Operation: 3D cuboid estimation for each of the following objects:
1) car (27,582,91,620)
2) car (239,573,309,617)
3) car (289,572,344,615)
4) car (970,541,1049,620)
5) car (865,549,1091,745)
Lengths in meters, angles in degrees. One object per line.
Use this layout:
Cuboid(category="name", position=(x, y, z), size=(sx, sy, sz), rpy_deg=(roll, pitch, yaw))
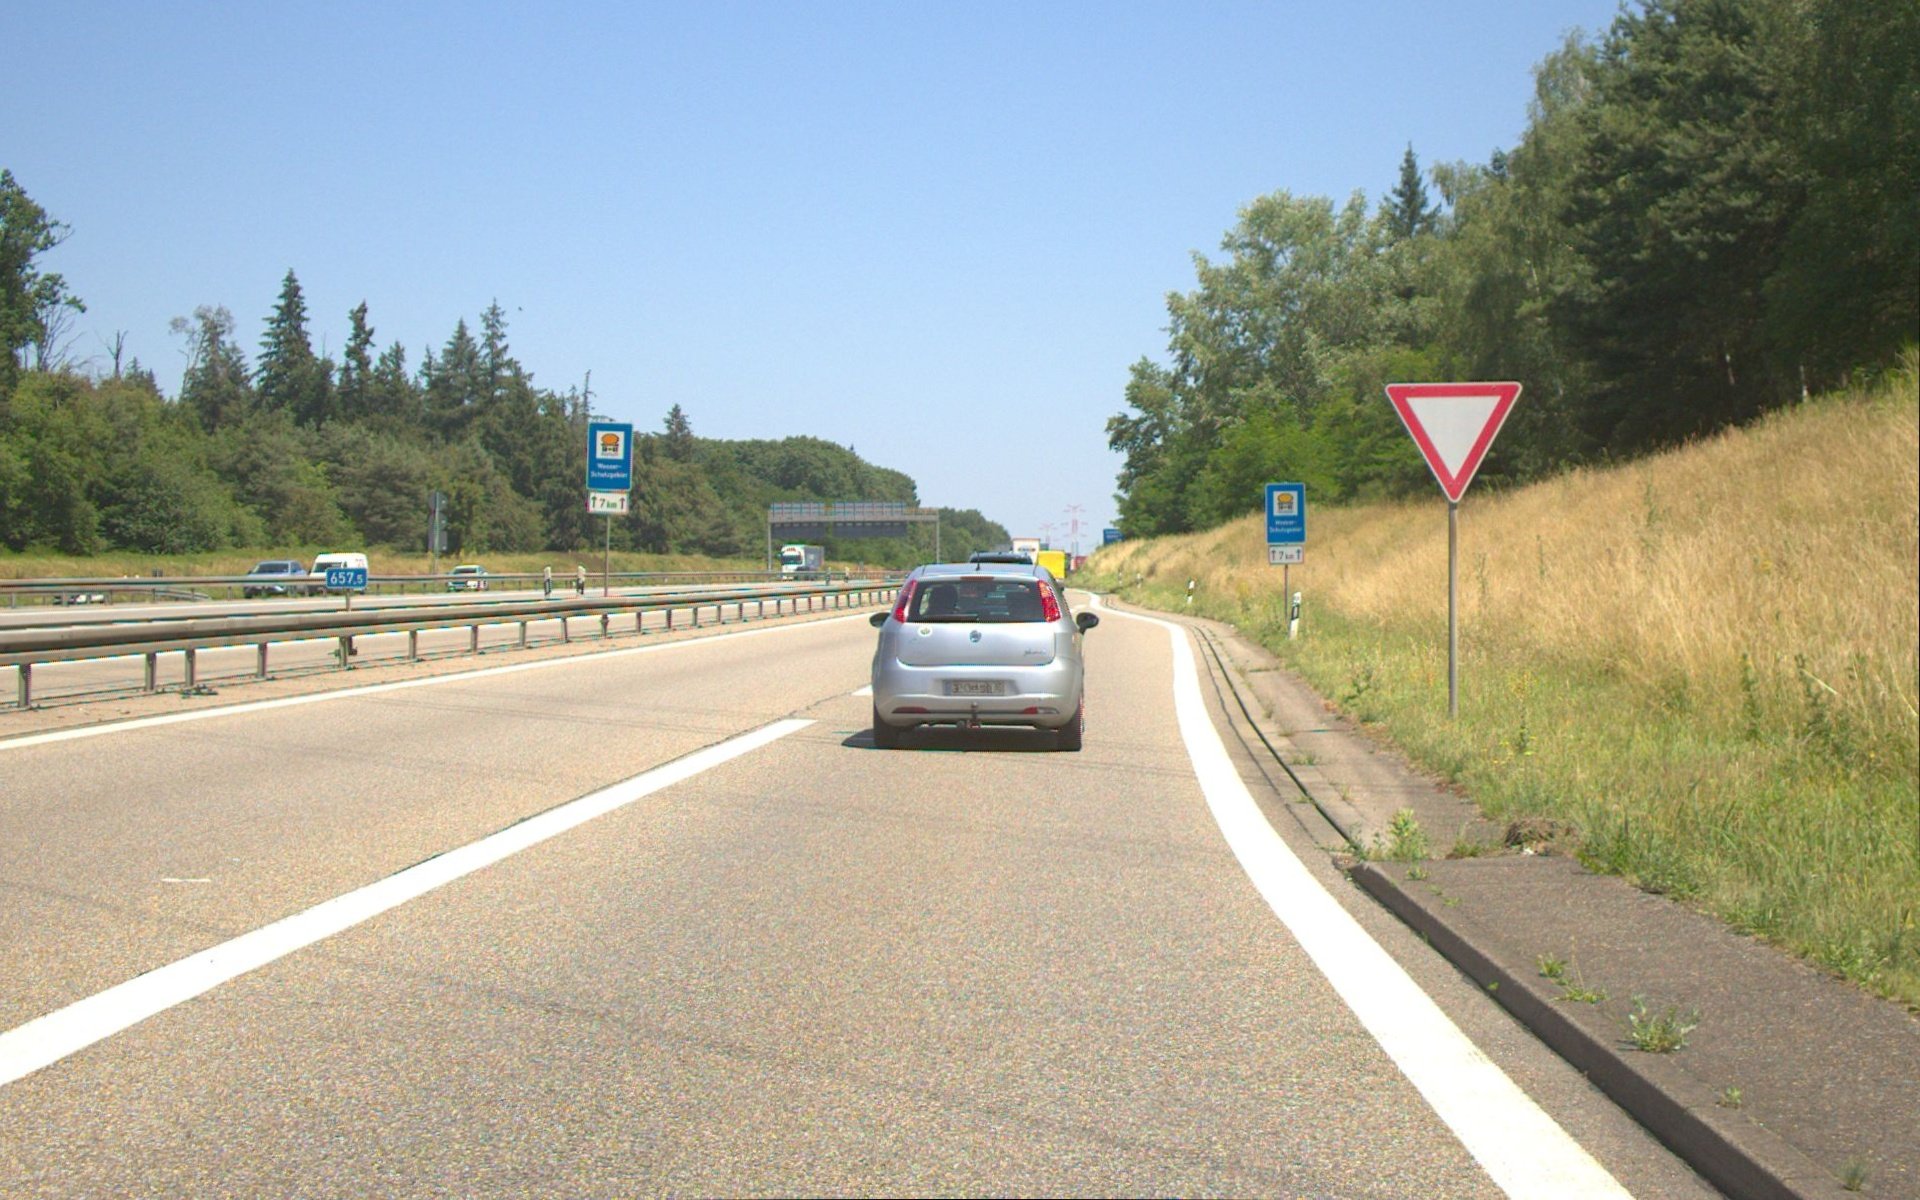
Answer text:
Cuboid(category="car", position=(-43.103, 0.063, 164.580), size=(1.993, 1.777, 4.000), rpy_deg=(0, 0, 0))
Cuboid(category="car", position=(-28.754, -0.207, 144.185), size=(1.993, 1.777, 4.000), rpy_deg=(0, 0, 2))
Cuboid(category="car", position=(-38.269, -0.364, 204.628), size=(1.993, 2.535, 6.913), rpy_deg=(0, 0, 0))
Cuboid(category="car", position=(1.083, -0.420, 76.715), size=(1.706, 1.670, 3.397), rpy_deg=(0, -1, 0))
Cuboid(category="car", position=(0.184, 0.339, 28.176), size=(1.706, 1.477, 3.398), rpy_deg=(1, 1, 2))
